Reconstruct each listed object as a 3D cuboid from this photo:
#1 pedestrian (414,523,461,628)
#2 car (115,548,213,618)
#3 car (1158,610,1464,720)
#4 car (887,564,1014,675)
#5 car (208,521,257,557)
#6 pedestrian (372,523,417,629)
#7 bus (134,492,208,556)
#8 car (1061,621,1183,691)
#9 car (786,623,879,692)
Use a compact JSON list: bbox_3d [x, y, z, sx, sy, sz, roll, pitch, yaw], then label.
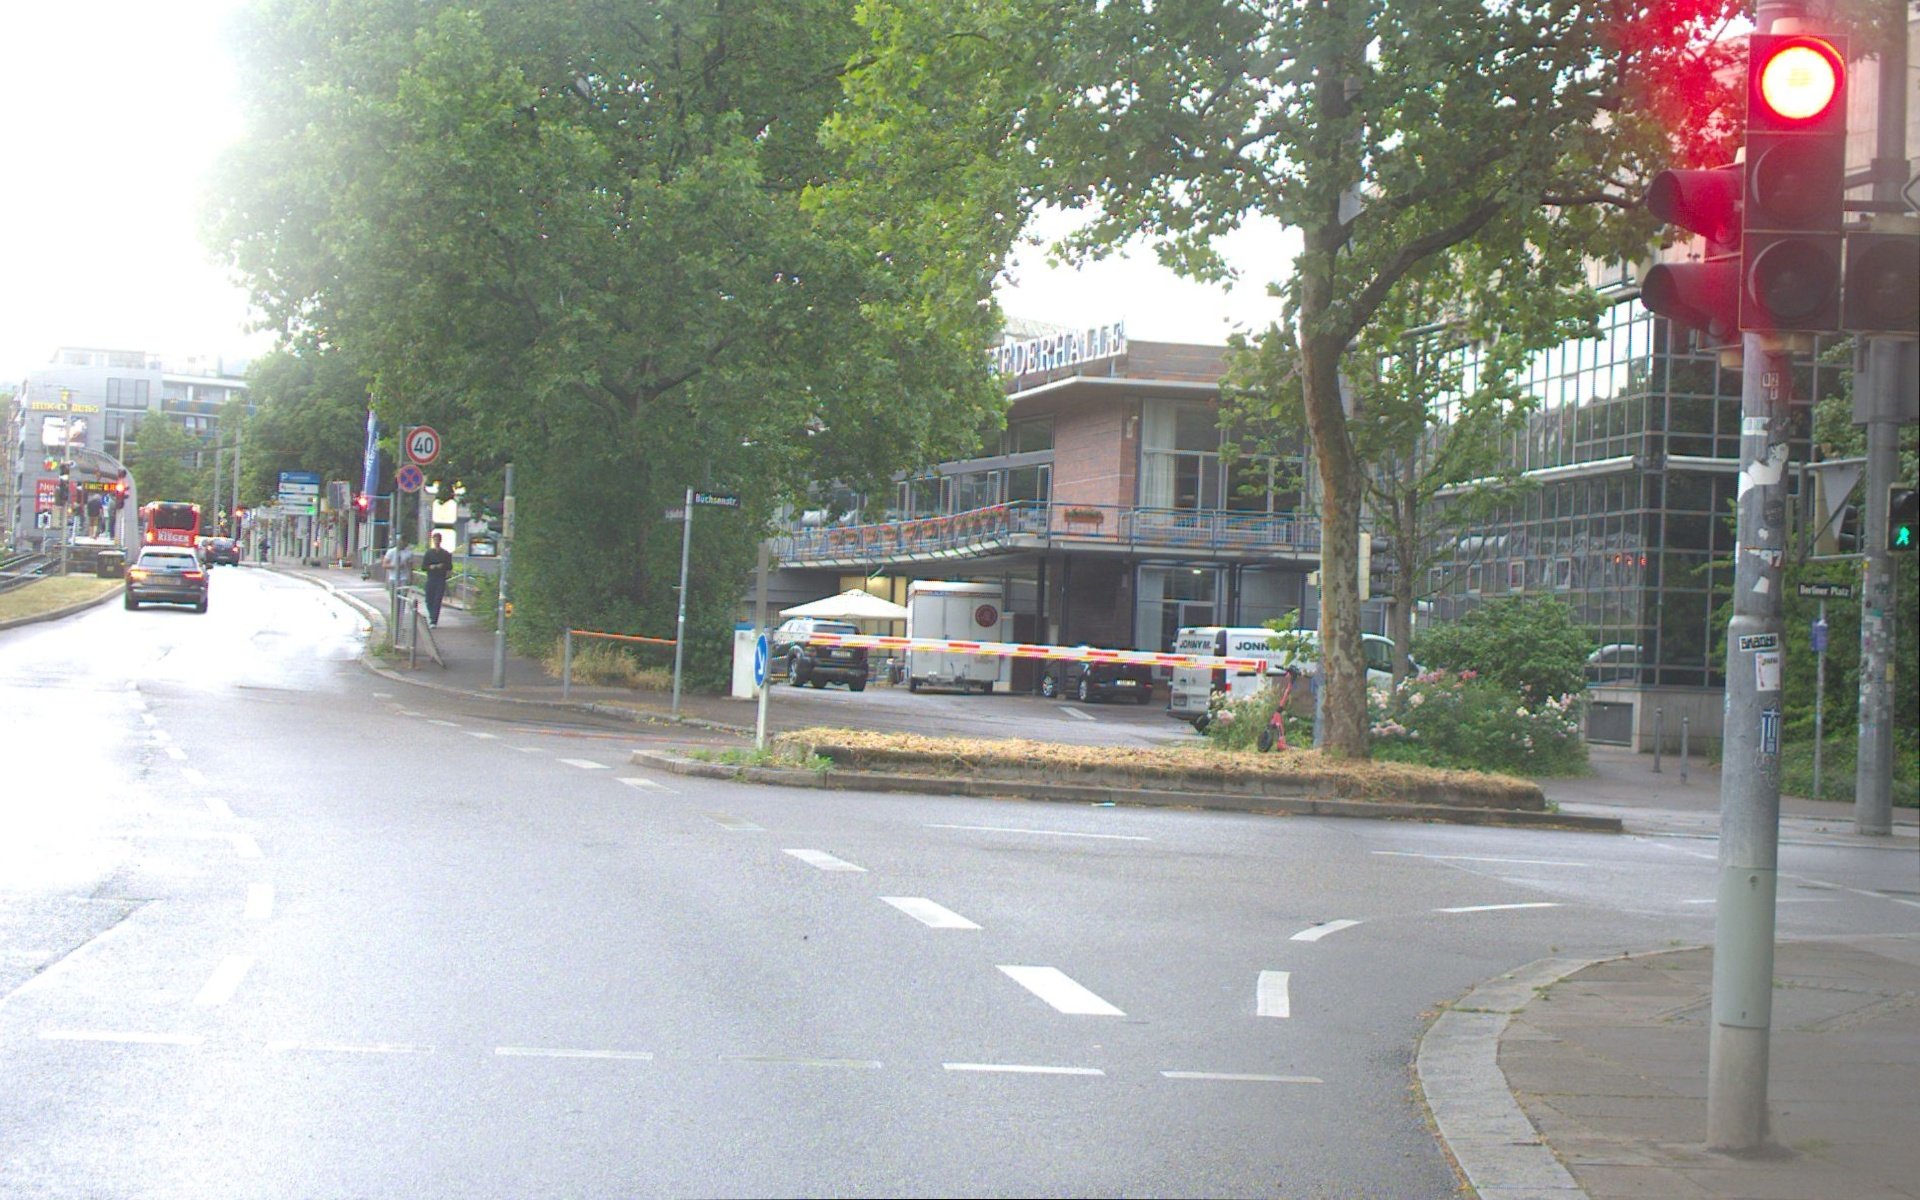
[{"bbox_3d":[-10.152,-0.481,66.810,0.874,2.007,1.077,1,0,-8],"label":"pedestrian"},{"bbox_3d":[-17.892,-0.404,77.426,1.993,1.514,4.351,1,1,-11],"label":"car"},{"bbox_3d":[6.358,1.178,62.224,5.198,1.725,1.875,3,1,-25],"label":"car"},{"bbox_3d":[-0.317,0.466,91.436,2.731,2.686,6.923,3,1,-5],"label":"car"},{"bbox_3d":[-38.406,-3.203,181.417,2.362,1.810,5.185,1,1,-13],"label":"car"},{"bbox_3d":[-10.914,-0.464,66.404,0.814,2.007,1.077,1,0,-8],"label":"pedestrian"},{"bbox_3d":[-40.497,-3.857,176.434,3.589,3.160,10.423,1,1,-13],"label":"bus"},{"bbox_3d":[4.167,1.436,89.212,2.019,1.546,4.351,3,1,-13],"label":"car"},{"bbox_3d":[-3.243,1.457,87.967,2.019,1.546,4.350,3,1,2],"label":"car"}]
